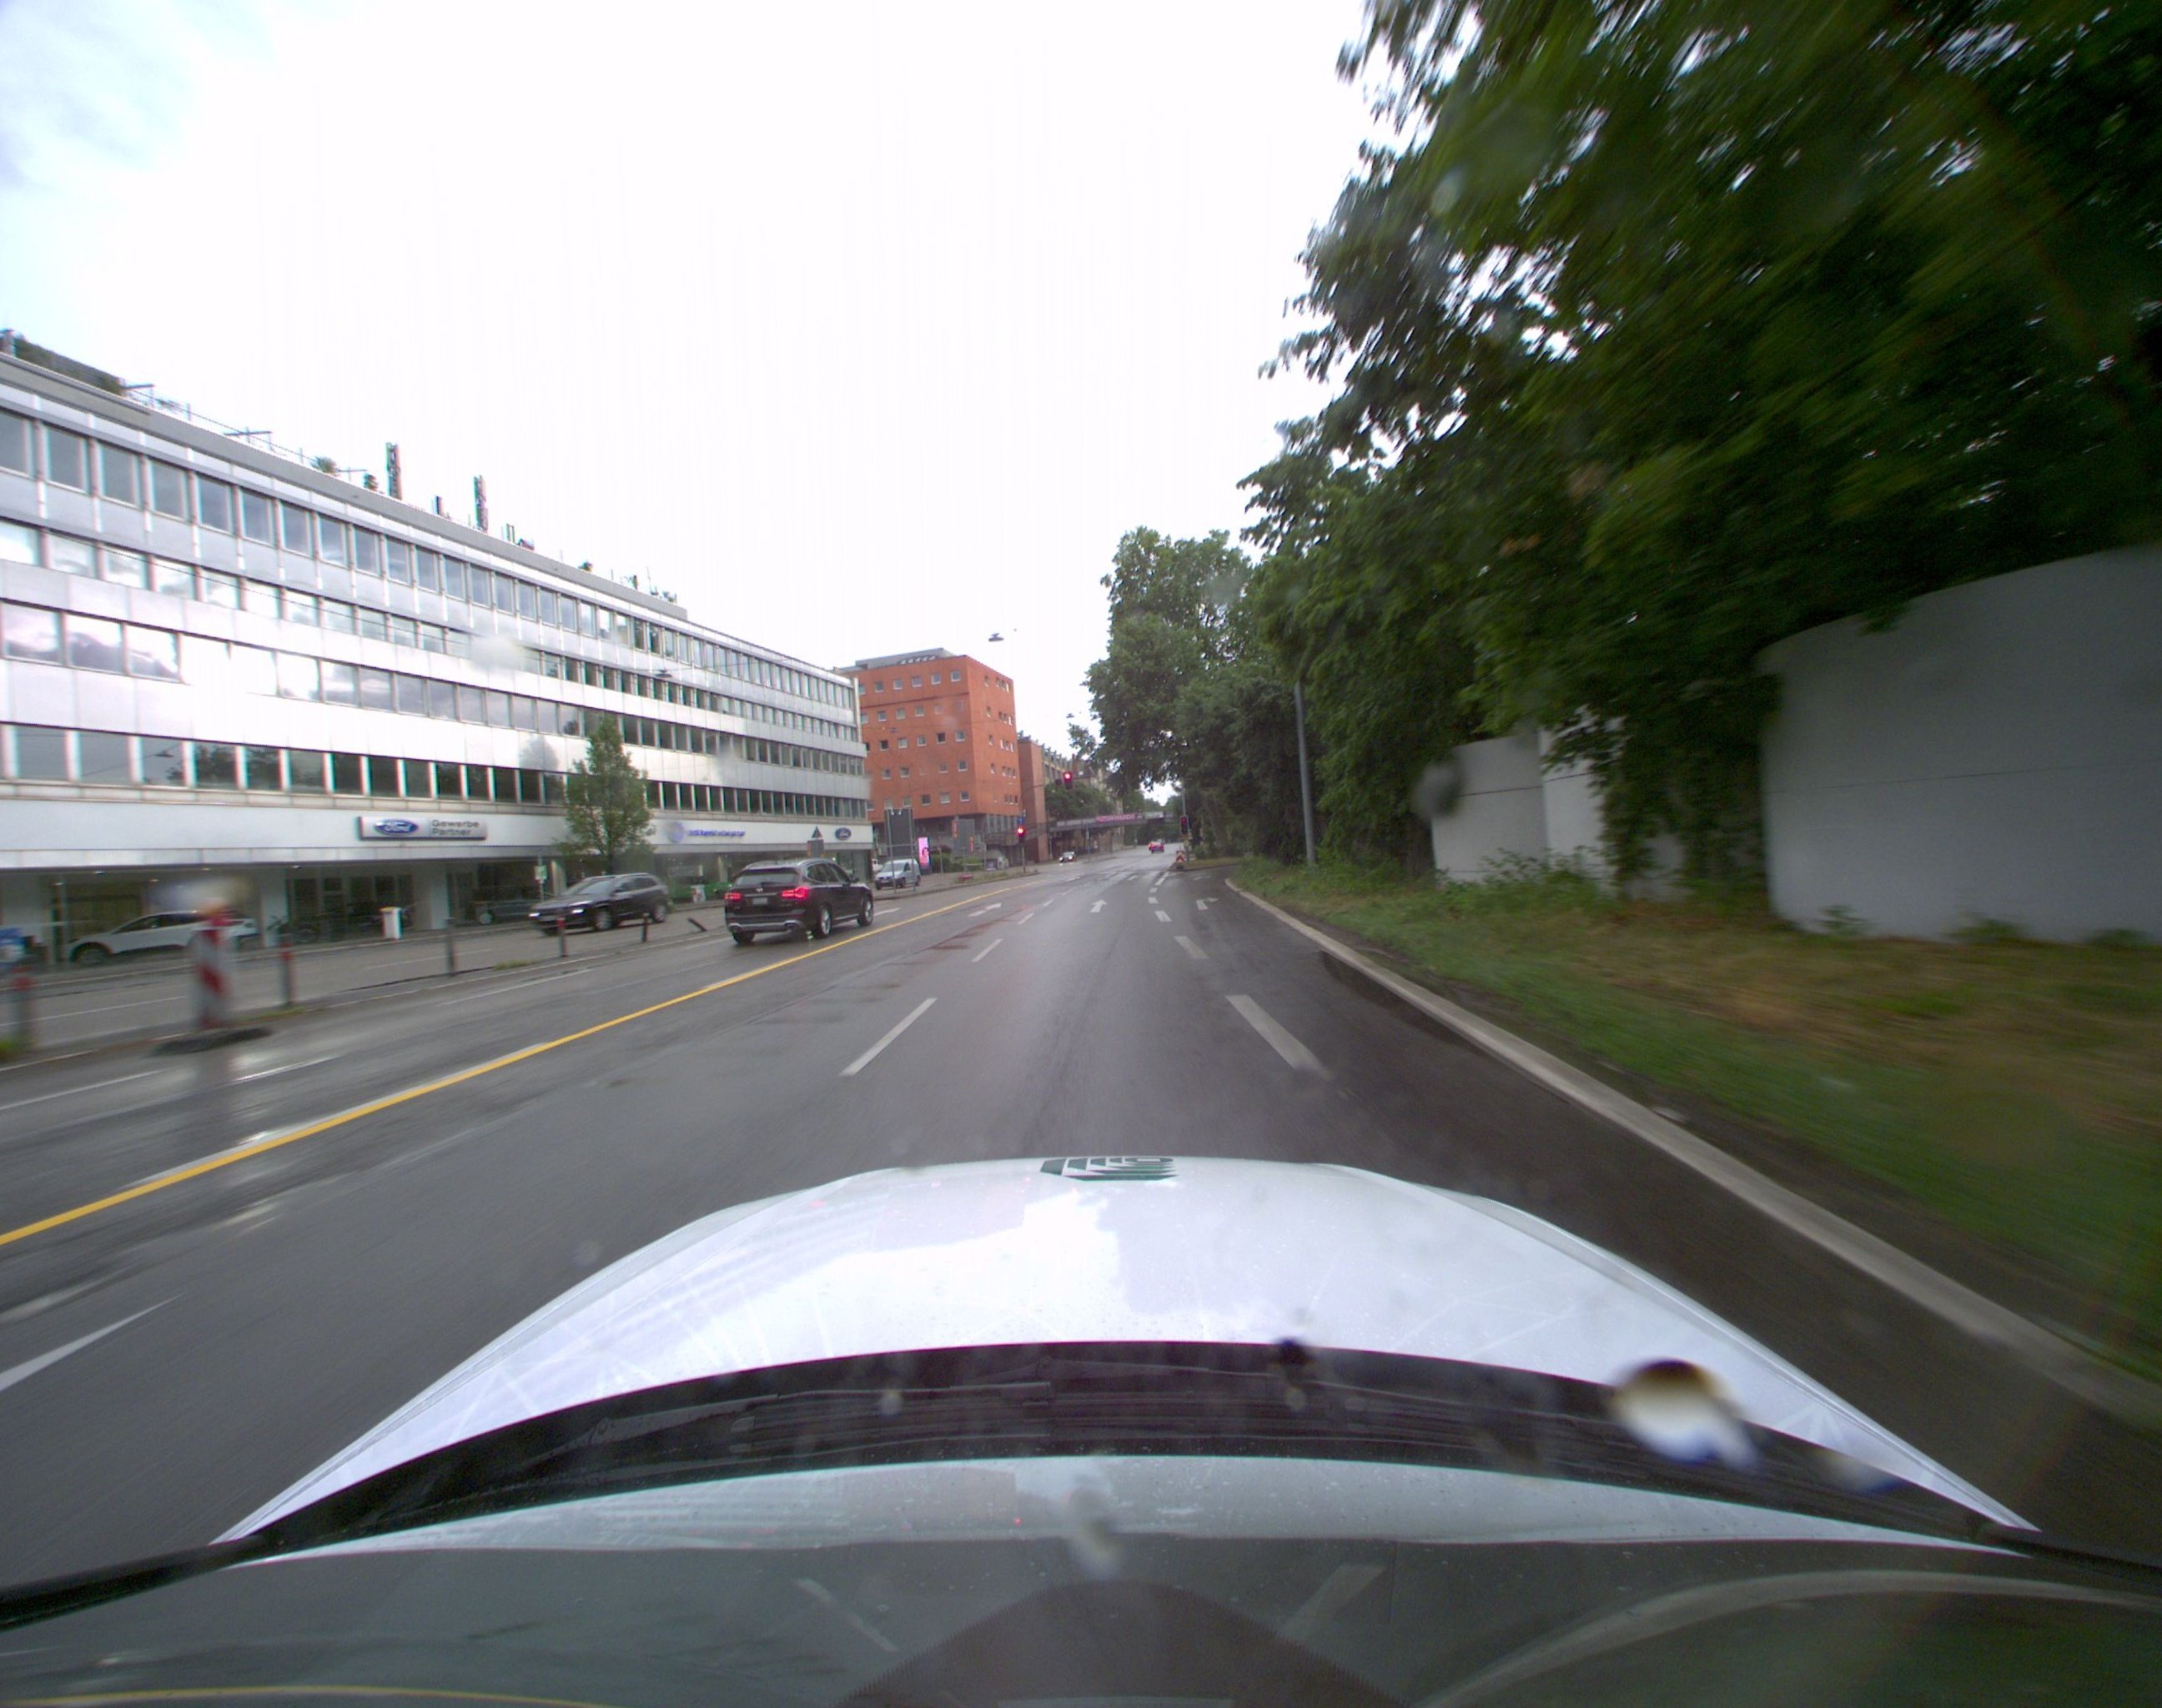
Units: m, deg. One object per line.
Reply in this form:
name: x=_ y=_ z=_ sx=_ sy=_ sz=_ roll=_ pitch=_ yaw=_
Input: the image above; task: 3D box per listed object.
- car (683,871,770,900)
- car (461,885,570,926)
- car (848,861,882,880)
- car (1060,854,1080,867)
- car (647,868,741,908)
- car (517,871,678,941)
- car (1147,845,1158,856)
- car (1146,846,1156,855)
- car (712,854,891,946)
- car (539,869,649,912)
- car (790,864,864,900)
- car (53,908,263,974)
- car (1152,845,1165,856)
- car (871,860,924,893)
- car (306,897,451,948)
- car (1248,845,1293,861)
car: x=-25.235 y=2.210 z=58.134 sx=5.186 sy=1.520 sz=1.994 roll=-5 pitch=-1 yaw=-8
car: x=-28.142 y=2.535 z=40.664 sx=4.004 sy=1.574 sz=1.985 roll=-5 pitch=-1 yaw=-22
car: x=-25.197 y=1.906 z=95.236 sx=1.982 sy=2.013 sz=4.865 roll=0 pitch=0 yaw=9
car: x=-1.431 y=0.845 z=109.388 sx=1.983 sy=1.519 sz=4.008 roll=-4 pitch=0 yaw=7
car: x=-24.764 y=2.140 z=52.202 sx=5.219 sy=2.011 sz=1.982 roll=-5 pitch=-1 yaw=-28
car: x=-14.764 y=1.504 z=25.223 sx=1.837 sy=1.737 sz=4.610 roll=-5 pitch=0 yaw=4
car: x=14.406 y=-0.707 z=164.546 sx=1.985 sy=2.013 sz=4.005 roll=-5 pitch=0 yaw=4
car: x=14.218 y=-0.757 z=164.858 sx=1.754 sy=1.696 sz=3.713 roll=-6 pitch=0 yaw=7
car: x=-5.925 y=0.895 z=17.969 sx=1.938 sy=1.597 sz=4.676 roll=-2 pitch=1 yaw=5
car: x=-27.325 y=2.044 z=45.768 sx=5.012 sy=1.897 sz=1.978 roll=-5 pitch=-1 yaw=-36
car: x=-12.867 y=1.401 z=41.556 sx=1.819 sy=1.502 sz=4.382 roll=-6 pitch=0 yaw=7
car: x=-32.105 y=2.980 z=28.537 sx=4.399 sy=1.651 sz=1.836 roll=-5 pitch=-1 yaw=-30
car: x=12.791 y=-0.632 z=134.898 sx=2.111 sy=1.734 sz=4.204 roll=-2 pitch=1 yaw=5
car: x=-11.503 y=1.392 z=51.365 sx=1.724 sy=1.786 sz=4.311 roll=-6 pitch=0 yaw=8
car: x=-29.233 y=2.821 z=34.042 sx=1.977 sy=1.574 sz=4.020 roll=-6 pitch=-1 yaw=20
car: x=21.029 y=-0.110 z=90.457 sx=4.589 sy=1.451 sz=1.773 roll=-4 pitch=-1 yaw=-1
